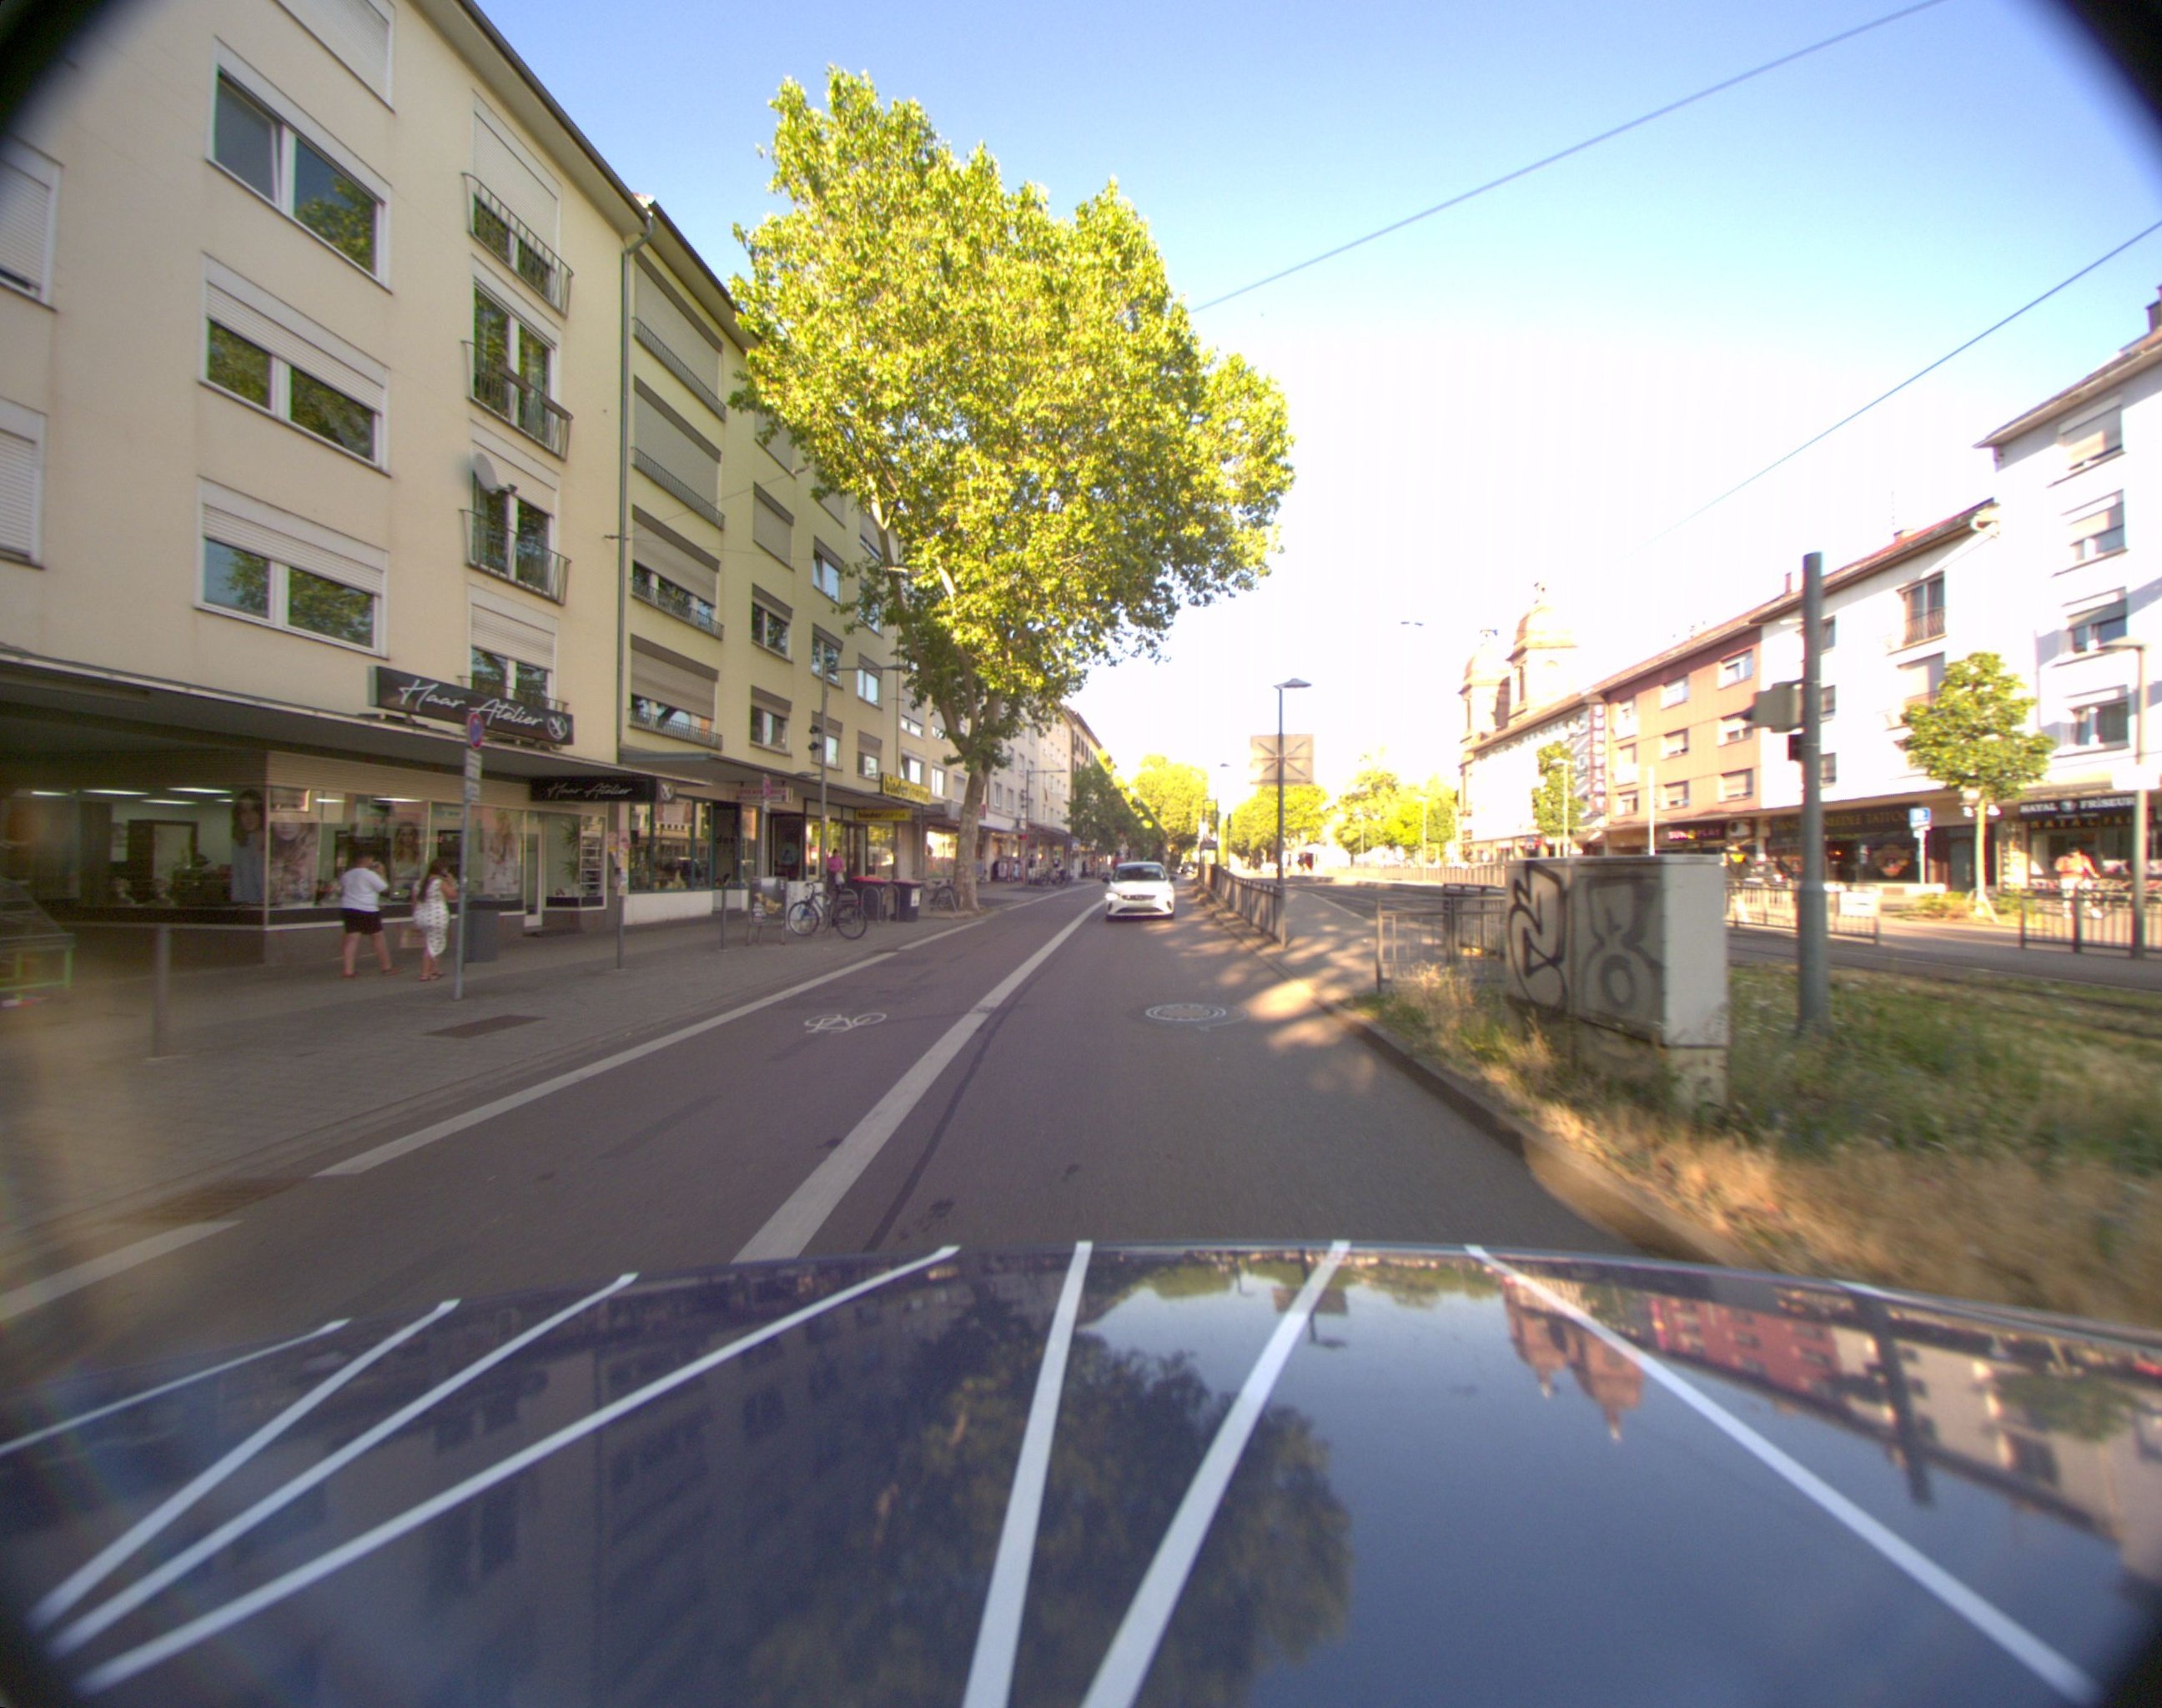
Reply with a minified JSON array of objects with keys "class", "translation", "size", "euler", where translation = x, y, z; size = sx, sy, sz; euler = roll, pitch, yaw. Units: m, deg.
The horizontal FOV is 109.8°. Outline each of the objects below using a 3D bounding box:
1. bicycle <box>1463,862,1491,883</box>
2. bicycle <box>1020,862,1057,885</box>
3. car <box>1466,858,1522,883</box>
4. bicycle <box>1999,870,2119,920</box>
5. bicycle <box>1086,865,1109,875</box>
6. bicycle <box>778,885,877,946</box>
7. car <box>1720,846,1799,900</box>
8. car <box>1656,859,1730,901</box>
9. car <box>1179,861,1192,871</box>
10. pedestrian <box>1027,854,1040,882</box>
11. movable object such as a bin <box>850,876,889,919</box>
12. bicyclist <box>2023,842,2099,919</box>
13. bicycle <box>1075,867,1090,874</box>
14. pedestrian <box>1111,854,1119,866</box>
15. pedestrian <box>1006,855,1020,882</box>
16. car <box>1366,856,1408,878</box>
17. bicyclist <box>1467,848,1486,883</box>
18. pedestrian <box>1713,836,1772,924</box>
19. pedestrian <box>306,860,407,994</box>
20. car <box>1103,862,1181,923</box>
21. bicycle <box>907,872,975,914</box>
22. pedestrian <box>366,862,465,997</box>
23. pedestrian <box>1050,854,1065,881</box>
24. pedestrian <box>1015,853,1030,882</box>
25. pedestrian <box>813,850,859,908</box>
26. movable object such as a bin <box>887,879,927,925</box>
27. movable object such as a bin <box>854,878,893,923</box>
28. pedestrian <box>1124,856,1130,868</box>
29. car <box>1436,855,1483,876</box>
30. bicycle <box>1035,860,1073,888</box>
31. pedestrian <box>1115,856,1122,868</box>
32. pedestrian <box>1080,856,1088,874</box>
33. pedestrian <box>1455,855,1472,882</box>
[{"class":"bicycle","translation":[23.451,1.083,45.074],"size":[0.719,1.223,2.279],"euler":[0,0,7]},{"class":"bicycle","translation":[-2.322,1.074,41.399],"size":[1.795,1.118,0.663],"euler":[4,1,-19]},{"class":"car","translation":[28.231,1.099,51.882],"size":[4.007,1.521,1.865],"euler":[-2,0,-37]},{"class":"bicycle","translation":[24.915,1.023,19.427],"size":[0.706,1.152,2.201],"euler":[-2,-1,17]},{"class":"bicycle","translation":[1.357,1.322,61.756],"size":[1.762,0.773,0.702],"euler":[1,-1,-14]},{"class":"bicycle","translation":[-5.147,1.221,15.426],"size":[1.909,1.098,0.519],"euler":[2,1,14]},{"class":"car","translation":[25.444,0.671,28.470],"size":[3.777,1.789,1.859],"euler":[-3,0,-44]},{"class":"car","translation":[25.288,1.065,31.344],"size":[3.777,1.482,1.859],"euler":[-3,0,-44]},{"class":"car","translation":[15.812,1.865,114.992],"size":[1.718,1.390,4.001],"euler":[-2,0,4]},{"class":"pedestrian","translation":[-2.916,0.855,46.710],"size":[0.569,1.665,1.070],"euler":[2,0,9]},{"class":"movable object such as a bin","translation":[-5.611,1.136,20.143],"size":[0.722,1.066,0.645],"euler":[2,1,26]},{"class":"bicyclist","translation":[24.890,0.653,19.317],"size":[0.693,1.876,1.059],"euler":[0,0,17]},{"class":"bicycle","translation":[0.103,1.328,61.958],"size":[0.840,0.569,1.759],"euler":[1,-1,-14]},{"class":"pedestrian","translation":[4.630,0.777,103.664],"size":[0.851,1.644,0.916],"euler":[-2,0,8]},{"class":"pedestrian","translation":[-3.866,0.836,43.150],"size":[0.541,1.493,0.896],"euler":[2,0,8]},{"class":"car","translation":[24.009,1.011,59.792],"size":[1.997,1.706,4.438],"euler":[0,0,6]},{"class":"bicyclist","translation":[23.454,0.679,45.067],"size":[0.765,2.002,0.912],"euler":[0,0,7]},{"class":"pedestrian","translation":[14.058,0.545,16.162],"size":[0.743,1.838,0.590],"euler":[0,0,2]},{"class":"pedestrian","translation":[-8.940,0.873,9.390],"size":[0.623,1.577,0.627],"euler":[2,1,7]},{"class":"car","translation":[1.620,0.938,20.075],"size":[1.826,1.433,3.829],"euler":[-1,-1,5]},{"class":"bicycle","translation":[-3.958,1.106,21.588],"size":[1.721,1.111,0.745],"euler":[0,4,8]},{"class":"pedestrian","translation":[-8.180,0.905,9.363],"size":[0.636,1.577,0.627],"euler":[2,1,7]},{"class":"pedestrian","translation":[-1.579,0.922,51.473],"size":[0.774,1.789,0.931],"euler":[3,0,10]},{"class":"pedestrian","translation":[-3.257,0.761,42.360],"size":[0.547,1.619,0.896],"euler":[2,0,8]},{"class":"pedestrian","translation":[-7.706,0.755,23.941],"size":[0.969,1.753,1.134],"euler":[1,1,9]},{"class":"movable object such as a bin","translation":[-4.444,1.221,19.429],"size":[0.723,1.096,0.645],"euler":[4,1,14]},{"class":"movable object such as a bin","translation":[-5.266,1.179,19.347],"size":[0.723,1.066,0.644],"euler":[3,1,6]},{"class":"pedestrian","translation":[6.541,1.201,108.472],"size":[0.693,1.665,0.659],"euler":[2,0,9]},{"class":"car","translation":[29.488,0.902,59.105],"size":[4.007,1.477,1.739],"euler":[-2,0,-39]},{"class":"bicycle","translation":[-1.427,1.060,40.499],"size":[1.788,1.304,0.695],"euler":[5,1,20]},{"class":"pedestrian","translation":[5.445,1.193,110.445],"size":[0.851,1.644,0.916],"euler":[-2,0,8]},{"class":"pedestrian","translation":[0.278,0.944,66.356],"size":[0.490,1.558,0.649],"euler":[2,0,10]},{"class":"pedestrian","translation":[26.122,0.971,51.915],"size":[0.768,1.777,0.725],"euler":[-2,0,3]}]
